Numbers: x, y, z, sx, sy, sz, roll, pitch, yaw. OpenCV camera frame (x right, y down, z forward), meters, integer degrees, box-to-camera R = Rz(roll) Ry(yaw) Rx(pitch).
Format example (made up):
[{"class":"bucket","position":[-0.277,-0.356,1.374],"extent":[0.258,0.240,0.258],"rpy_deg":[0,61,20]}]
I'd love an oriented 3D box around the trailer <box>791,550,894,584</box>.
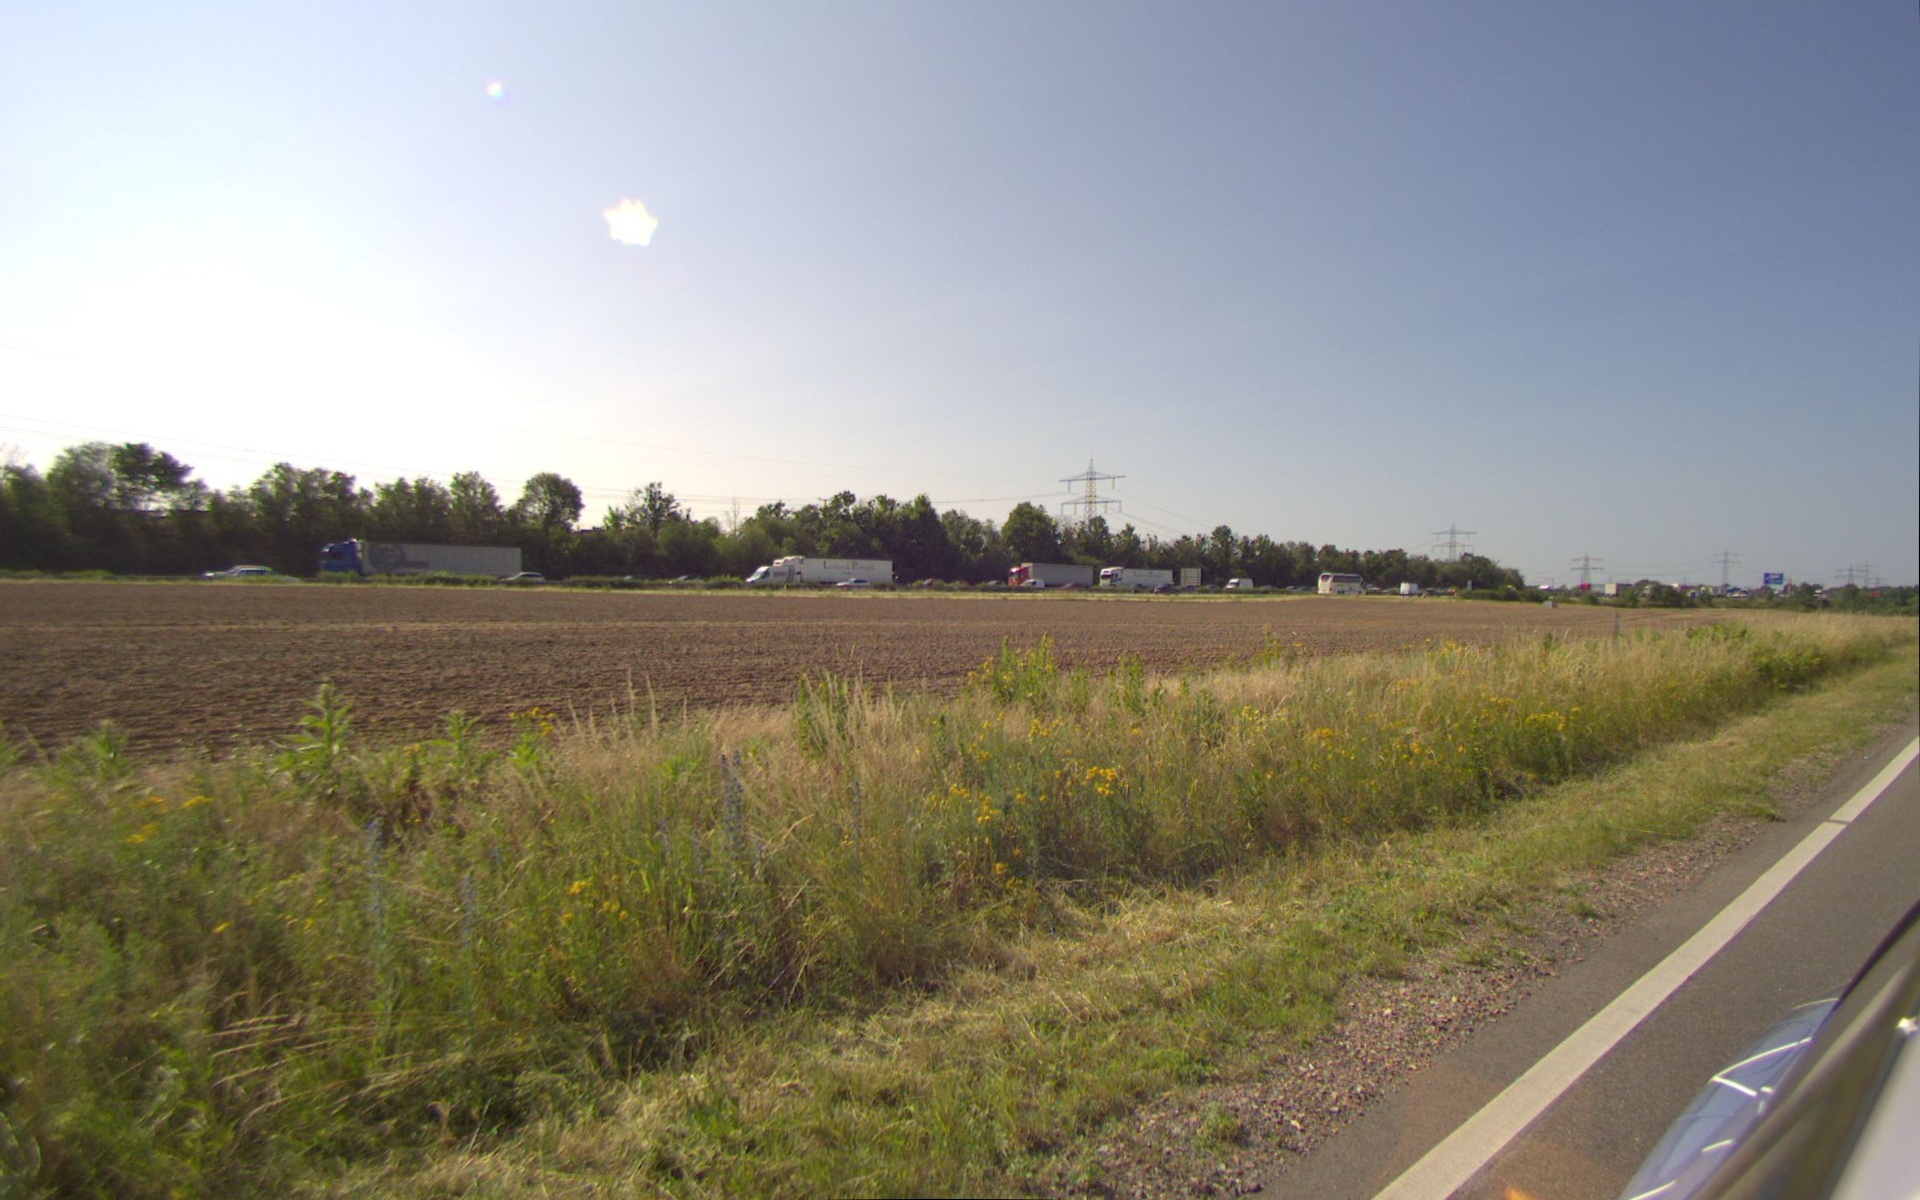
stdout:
[{"class":"trailer","position":[-14.247,-3.978,123.787],"extent":[13.134,3.780,3.077],"rpy_deg":[0,1,-42]}]

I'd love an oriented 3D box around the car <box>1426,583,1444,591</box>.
[{"class":"car","position":[92.245,-2.469,196.348],"extent":[4.137,1.492,1.705],"rpy_deg":[0,0,-42]}]

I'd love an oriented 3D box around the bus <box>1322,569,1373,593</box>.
[{"class":"bus","position":[68.975,-3.323,179.882],"extent":[14.303,3.851,2.465],"rpy_deg":[1,1,-44]}]

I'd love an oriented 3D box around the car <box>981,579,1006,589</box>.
[{"class":"car","position":[4.426,-2.108,133.337],"extent":[3.238,1.300,1.341],"rpy_deg":[0,0,-45]}]

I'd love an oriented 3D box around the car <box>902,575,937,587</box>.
[{"class":"car","position":[-4.960,-2.304,124.937],"extent":[4.175,1.403,1.852],"rpy_deg":[1,0,-43]}]

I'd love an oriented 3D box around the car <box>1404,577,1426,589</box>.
[{"class":"car","position":[90.152,-3.306,200.367],"extent":[5.427,2.402,1.996],"rpy_deg":[0,0,-43]}]

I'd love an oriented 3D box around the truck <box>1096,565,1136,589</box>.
[{"class":"truck","position":[24.623,-3.676,159.629],"extent":[6.006,3.575,3.207],"rpy_deg":[0,2,-43]}]

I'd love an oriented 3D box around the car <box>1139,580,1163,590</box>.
[{"class":"car","position":[26.818,-2.059,142.189],"extent":[3.557,1.250,1.547],"rpy_deg":[1,-2,-43]}]

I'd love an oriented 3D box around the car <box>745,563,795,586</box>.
[{"class":"car","position":[-20.522,-2.732,109.470],"extent":[5.149,2.228,1.907],"rpy_deg":[1,-1,-43]}]

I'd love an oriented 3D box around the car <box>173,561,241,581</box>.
[{"class":"car","position":[-51.381,-1.963,69.085],"extent":[3.557,1.250,1.547],"rpy_deg":[1,-2,-43]}]

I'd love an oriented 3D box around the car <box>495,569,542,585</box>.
[{"class":"car","position":[-39.736,-2.046,91.132],"extent":[3.542,1.403,1.493],"rpy_deg":[1,0,-43]}]

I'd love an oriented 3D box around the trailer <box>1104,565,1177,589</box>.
[{"class":"trailer","position":[29.405,-3.677,164.085],"extent":[14.828,3.575,3.207],"rpy_deg":[0,2,-43]}]

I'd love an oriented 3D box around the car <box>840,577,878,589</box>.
[{"class":"car","position":[-11.772,-1.984,118.528],"extent":[4.175,1.403,1.852],"rpy_deg":[1,0,-43]}]

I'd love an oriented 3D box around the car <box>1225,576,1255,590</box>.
[{"class":"car","position":[48.380,-2.922,174.726],"extent":[6.303,2.478,2.040],"rpy_deg":[0,0,-42]}]

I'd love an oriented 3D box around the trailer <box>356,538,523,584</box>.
[{"class":"trailer","position":[-47.704,-3.481,93.279],"extent":[13.392,3.780,3.077],"rpy_deg":[0,1,-41]}]

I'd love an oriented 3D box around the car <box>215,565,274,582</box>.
[{"class":"car","position":[-54.546,-2.023,77.205],"extent":[3.520,1.166,1.396],"rpy_deg":[1,0,-42]}]

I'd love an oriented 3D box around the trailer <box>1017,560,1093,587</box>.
[{"class":"trailer","position":[14.227,-3.866,150.420],"extent":[13.548,3.780,2.949],"rpy_deg":[0,1,-43]}]

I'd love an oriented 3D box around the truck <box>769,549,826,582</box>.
[{"class":"truck","position":[-19.154,-4.042,119.380],"extent":[6.011,3.780,3.077],"rpy_deg":[0,1,-41]}]

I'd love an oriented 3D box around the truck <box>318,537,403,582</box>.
[{"class":"truck","position":[-52.652,-3.478,88.915],"extent":[5.981,3.780,3.077],"rpy_deg":[0,1,-41]}]

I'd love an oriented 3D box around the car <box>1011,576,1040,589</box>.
[{"class":"car","position":[8.841,-2.346,136.877],"extent":[4.025,1.659,1.704],"rpy_deg":[0,0,-43]}]

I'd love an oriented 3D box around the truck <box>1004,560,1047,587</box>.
[{"class":"truck","position":[9.492,-3.847,146.097],"extent":[5.769,3.780,2.949],"rpy_deg":[0,1,-43]}]

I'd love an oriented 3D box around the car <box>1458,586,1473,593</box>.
[{"class":"car","position":[116.780,-2.500,233.758],"extent":[4.024,1.528,1.705],"rpy_deg":[0,0,-42]}]
